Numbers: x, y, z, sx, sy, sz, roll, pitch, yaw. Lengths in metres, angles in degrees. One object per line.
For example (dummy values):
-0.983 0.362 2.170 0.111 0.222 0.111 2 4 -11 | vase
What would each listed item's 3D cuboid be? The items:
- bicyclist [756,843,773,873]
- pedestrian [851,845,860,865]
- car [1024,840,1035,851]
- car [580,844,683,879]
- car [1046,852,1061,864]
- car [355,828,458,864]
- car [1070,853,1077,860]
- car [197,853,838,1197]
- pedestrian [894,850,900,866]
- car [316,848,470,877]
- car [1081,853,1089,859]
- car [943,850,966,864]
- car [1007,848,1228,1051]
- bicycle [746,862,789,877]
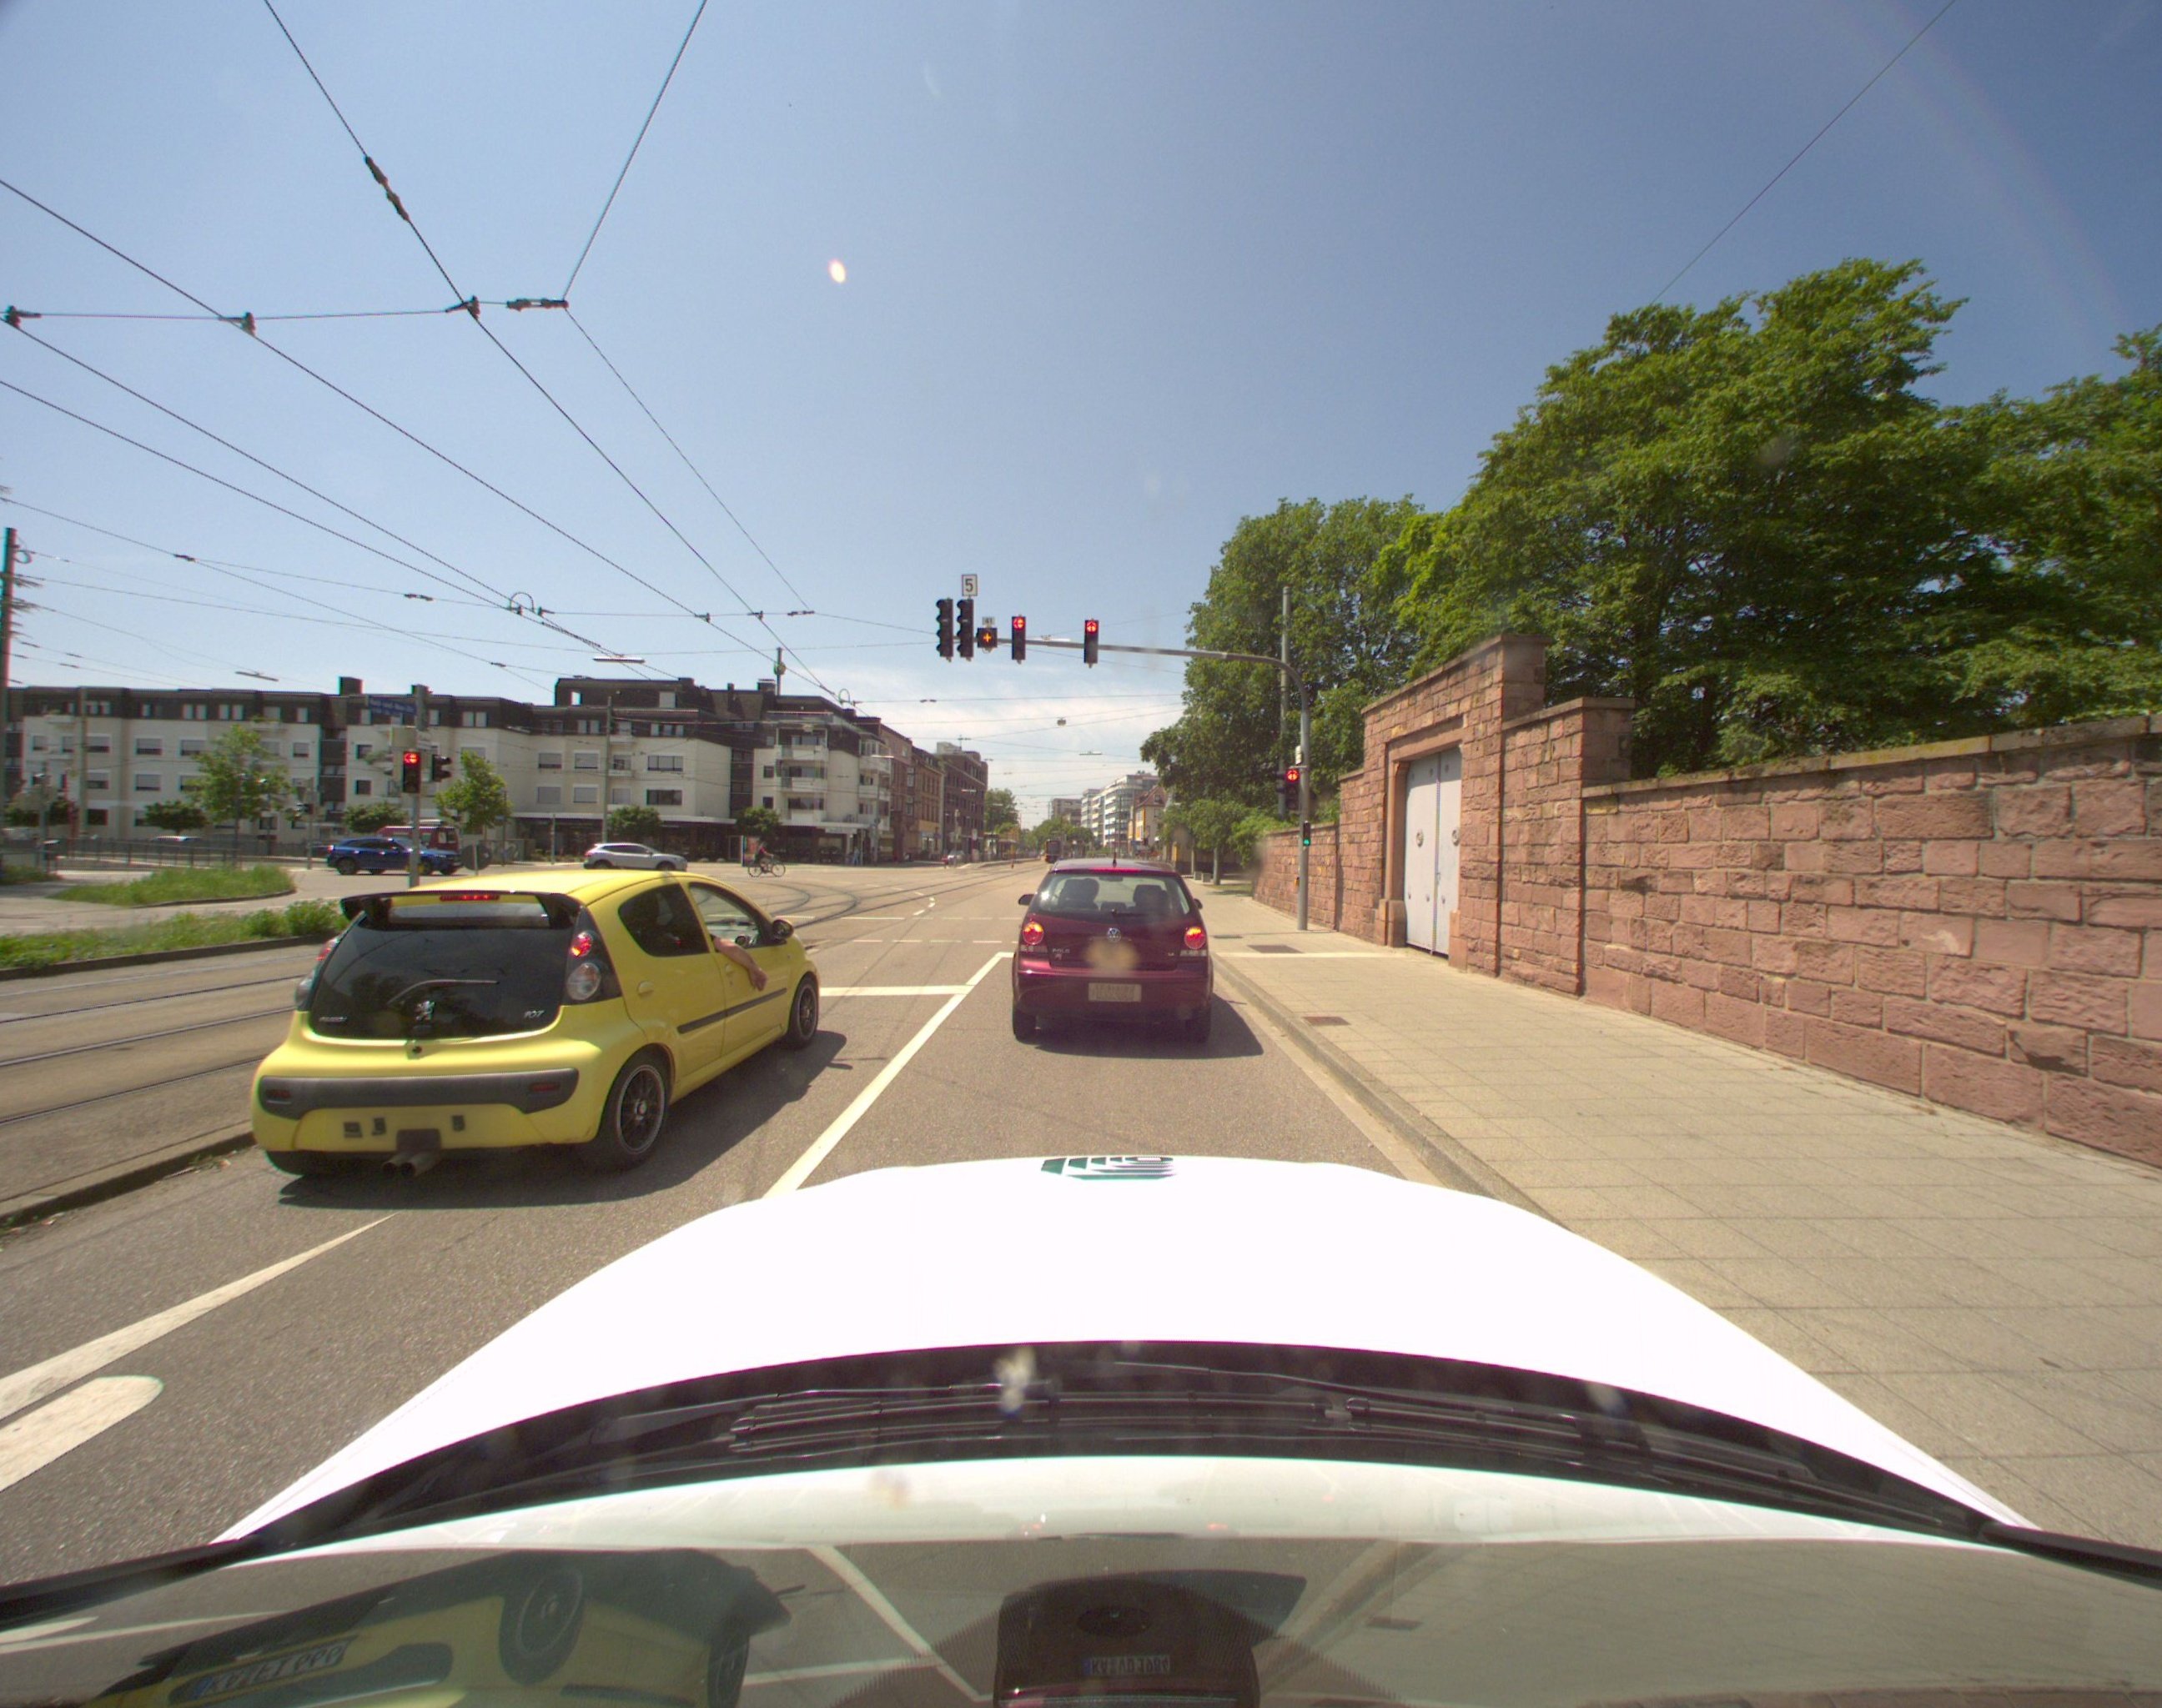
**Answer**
-16.076 0.205 41.336 0.754 1.501 0.477 0 -1 -30 | bicyclist
-20.087 0.110 72.659 0.614 1.754 0.499 1 -1 -43 | pedestrian
-9.726 -1.532 154.602 1.728 2.013 4.002 1 0 2 | car
-21.334 0.370 38.863 4.160 1.584 1.923 0 -1 -26 | car
-3.923 0.609 117.119 1.931 1.641 4.000 0 -1 1 | car
-45.504 -0.540 55.017 5.048 2.341 2.244 0 -1 0 | car
-1.799 0.612 206.494 1.774 1.609 4.150 0 0 0 | car
-2.941 0.744 5.186 1.717 1.445 3.293 -1 0 1 | car
-18.310 0.371 80.937 0.482 1.541 0.538 0 -1 -2 | pedestrian
-30.075 0.374 35.740 4.770 1.237 1.932 0 -1 -11 | car
0.938 0.448 183.939 1.567 1.415 3.721 -1 0 1 | car
-13.825 0.301 89.438 1.682 1.462 4.003 1 0 3 | car
0.297 0.704 8.037 1.604 1.463 4.085 1 0 1 | car
-15.958 0.786 41.437 1.993 0.783 0.462 0 -1 -30 | bicycle
